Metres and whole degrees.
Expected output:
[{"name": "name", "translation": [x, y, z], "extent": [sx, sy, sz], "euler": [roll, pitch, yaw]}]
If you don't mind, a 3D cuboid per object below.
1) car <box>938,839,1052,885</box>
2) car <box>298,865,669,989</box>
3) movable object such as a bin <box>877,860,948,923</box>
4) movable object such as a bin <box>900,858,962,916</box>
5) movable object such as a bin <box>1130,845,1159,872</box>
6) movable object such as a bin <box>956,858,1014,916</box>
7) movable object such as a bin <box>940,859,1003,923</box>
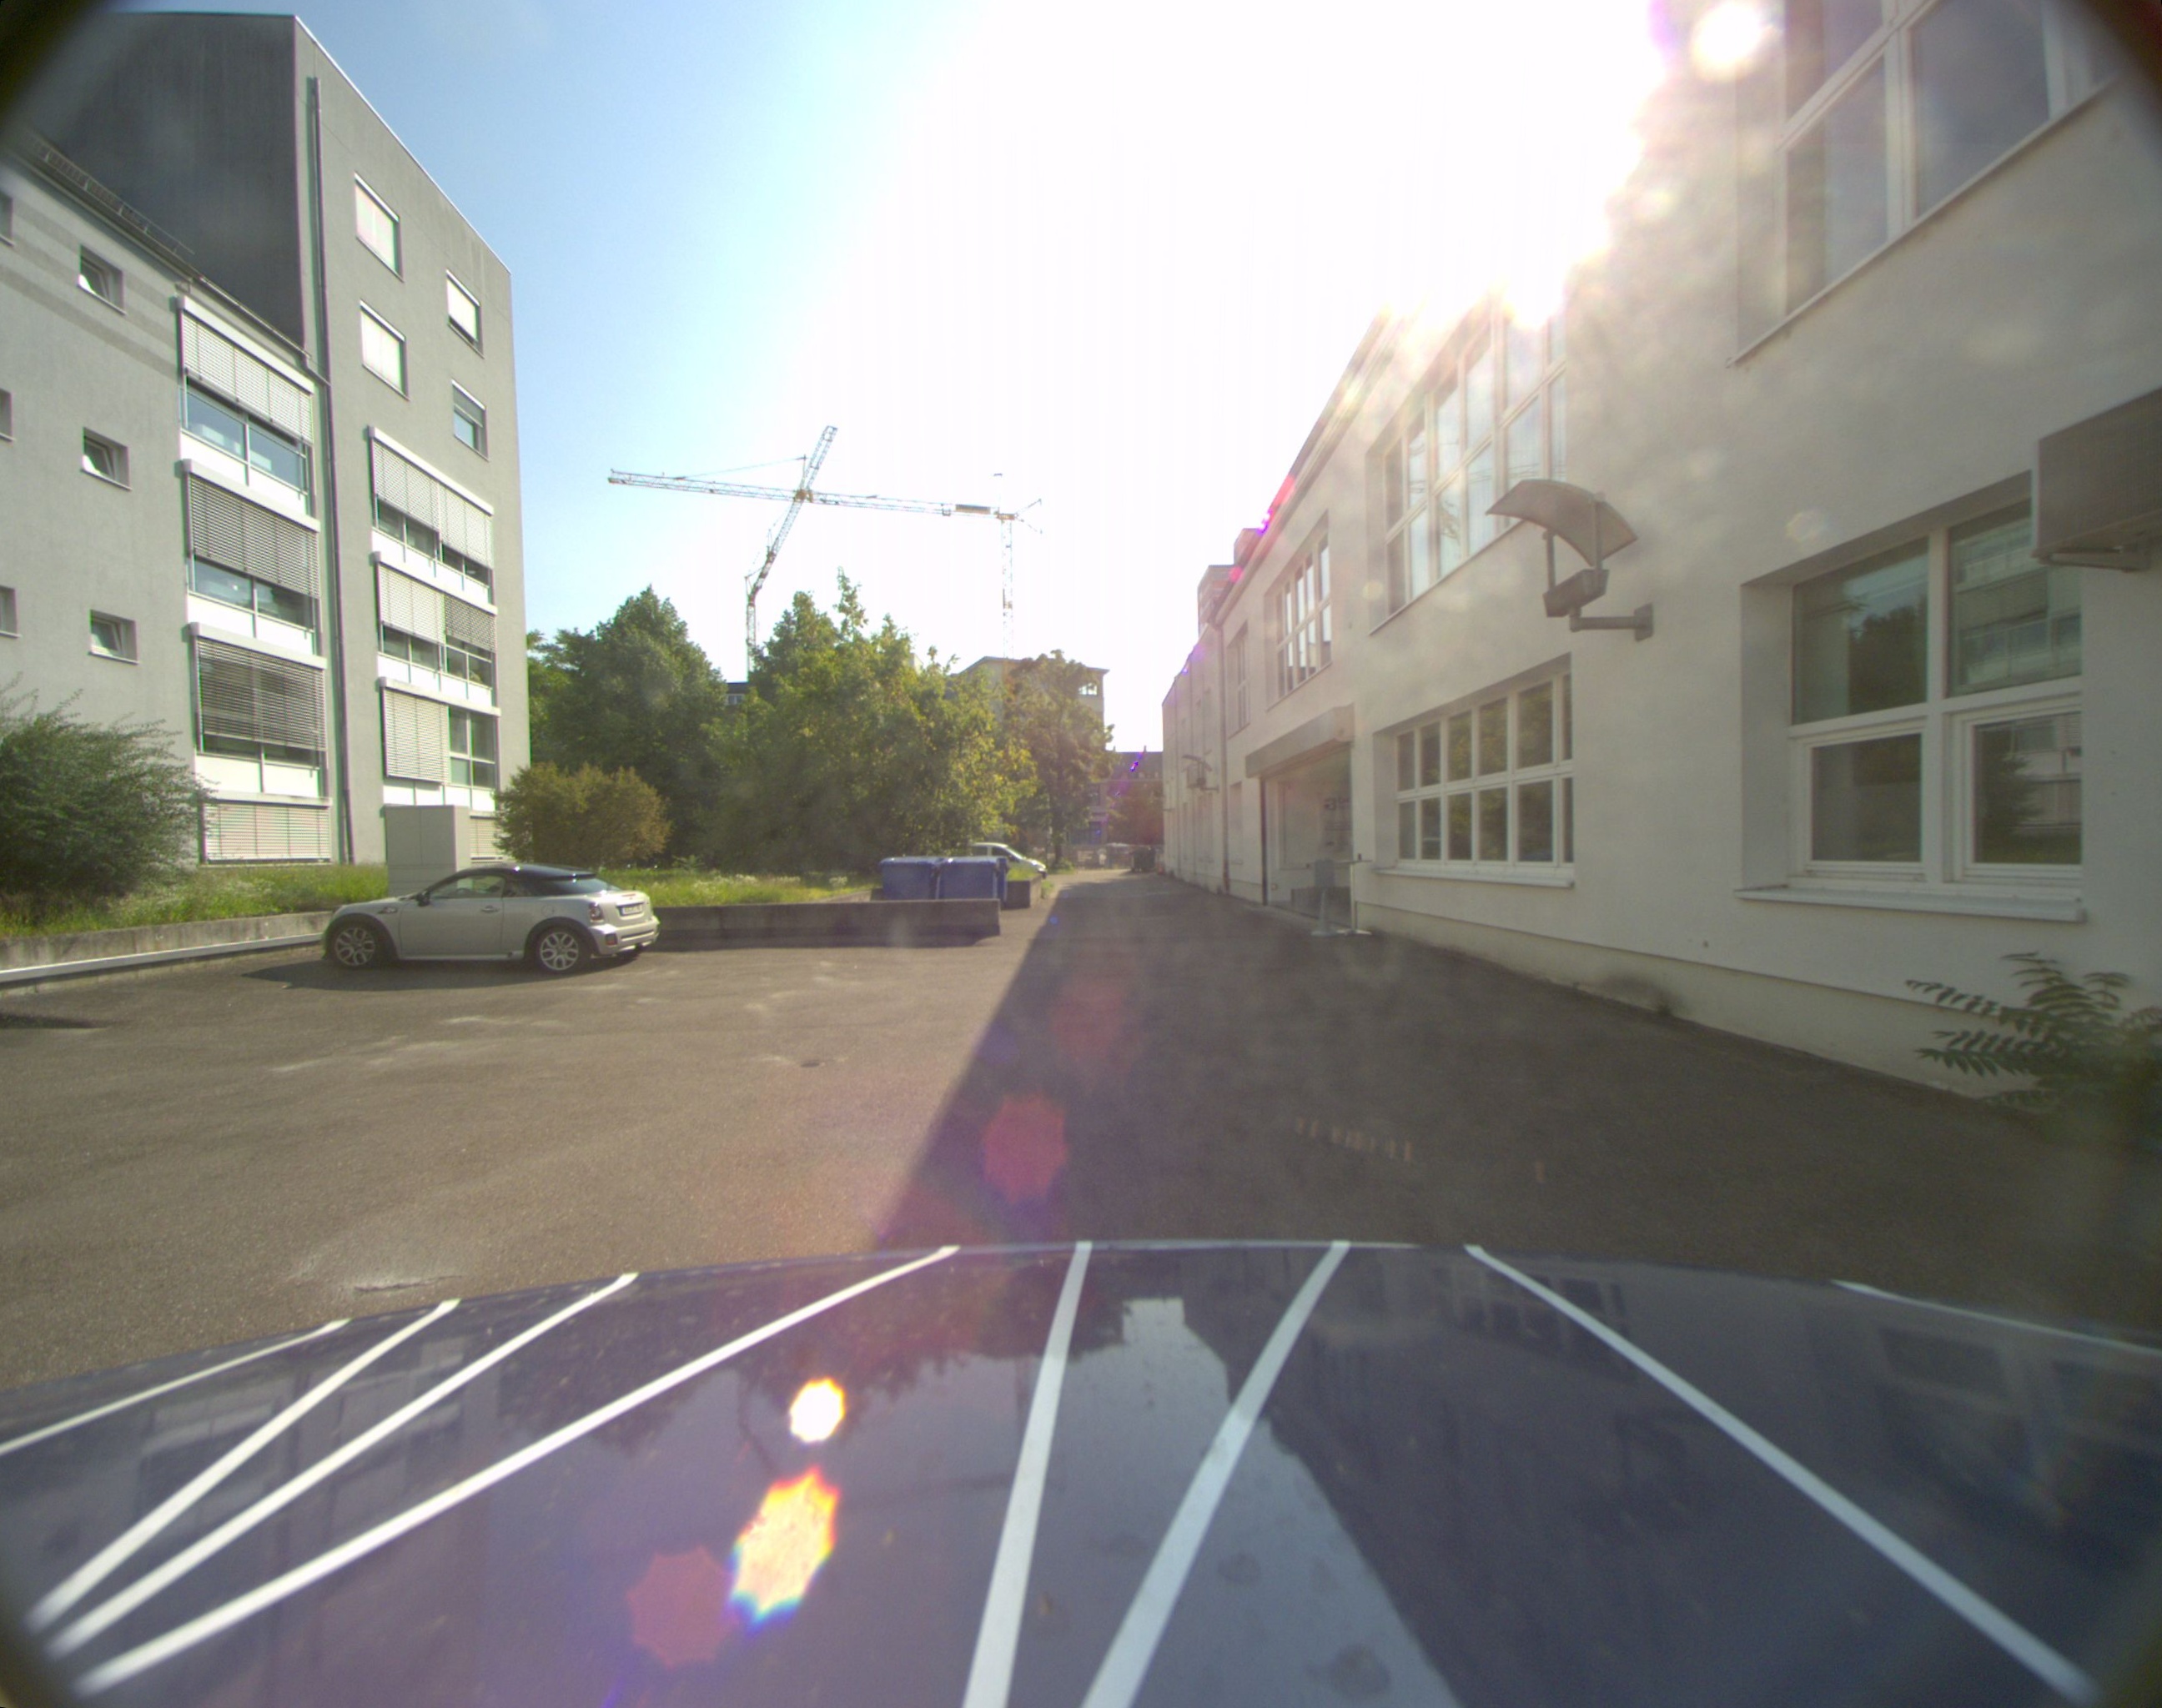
[{"name": "car", "translation": [-3.788, 0.360, 34.133], "extent": [4.789, 1.920, 1.909], "euler": [-1, 1, 2]}, {"name": "car", "translation": [-7.796, 0.902, 10.202], "extent": [3.580, 1.429, 1.658], "euler": [-1, 1, -3]}, {"name": "movable object such as a bin", "translation": [-3.766, 0.824, 17.151], "extent": [1.257, 1.320, 1.275], "euler": [-1, 1, 1]}, {"name": "movable object such as a bin", "translation": [-3.668, 0.795, 18.700], "extent": [1.199, 1.320, 1.275], "euler": [-1, 1, 1]}, {"name": "movable object such as a bin", "translation": [3.629, 0.239, 43.478], "extent": [1.524, 1.457, 1.275], "euler": [-1, 1, 0]}, {"name": "movable object such as a bin", "translation": [-2.339, 0.782, 18.666], "extent": [1.199, 1.320, 1.275], "euler": [-1, 1, 1]}, {"name": "movable object such as a bin", "translation": [-2.438, 0.810, 17.072], "extent": [1.214, 1.343, 1.275], "euler": [-1, 1, -1]}]
